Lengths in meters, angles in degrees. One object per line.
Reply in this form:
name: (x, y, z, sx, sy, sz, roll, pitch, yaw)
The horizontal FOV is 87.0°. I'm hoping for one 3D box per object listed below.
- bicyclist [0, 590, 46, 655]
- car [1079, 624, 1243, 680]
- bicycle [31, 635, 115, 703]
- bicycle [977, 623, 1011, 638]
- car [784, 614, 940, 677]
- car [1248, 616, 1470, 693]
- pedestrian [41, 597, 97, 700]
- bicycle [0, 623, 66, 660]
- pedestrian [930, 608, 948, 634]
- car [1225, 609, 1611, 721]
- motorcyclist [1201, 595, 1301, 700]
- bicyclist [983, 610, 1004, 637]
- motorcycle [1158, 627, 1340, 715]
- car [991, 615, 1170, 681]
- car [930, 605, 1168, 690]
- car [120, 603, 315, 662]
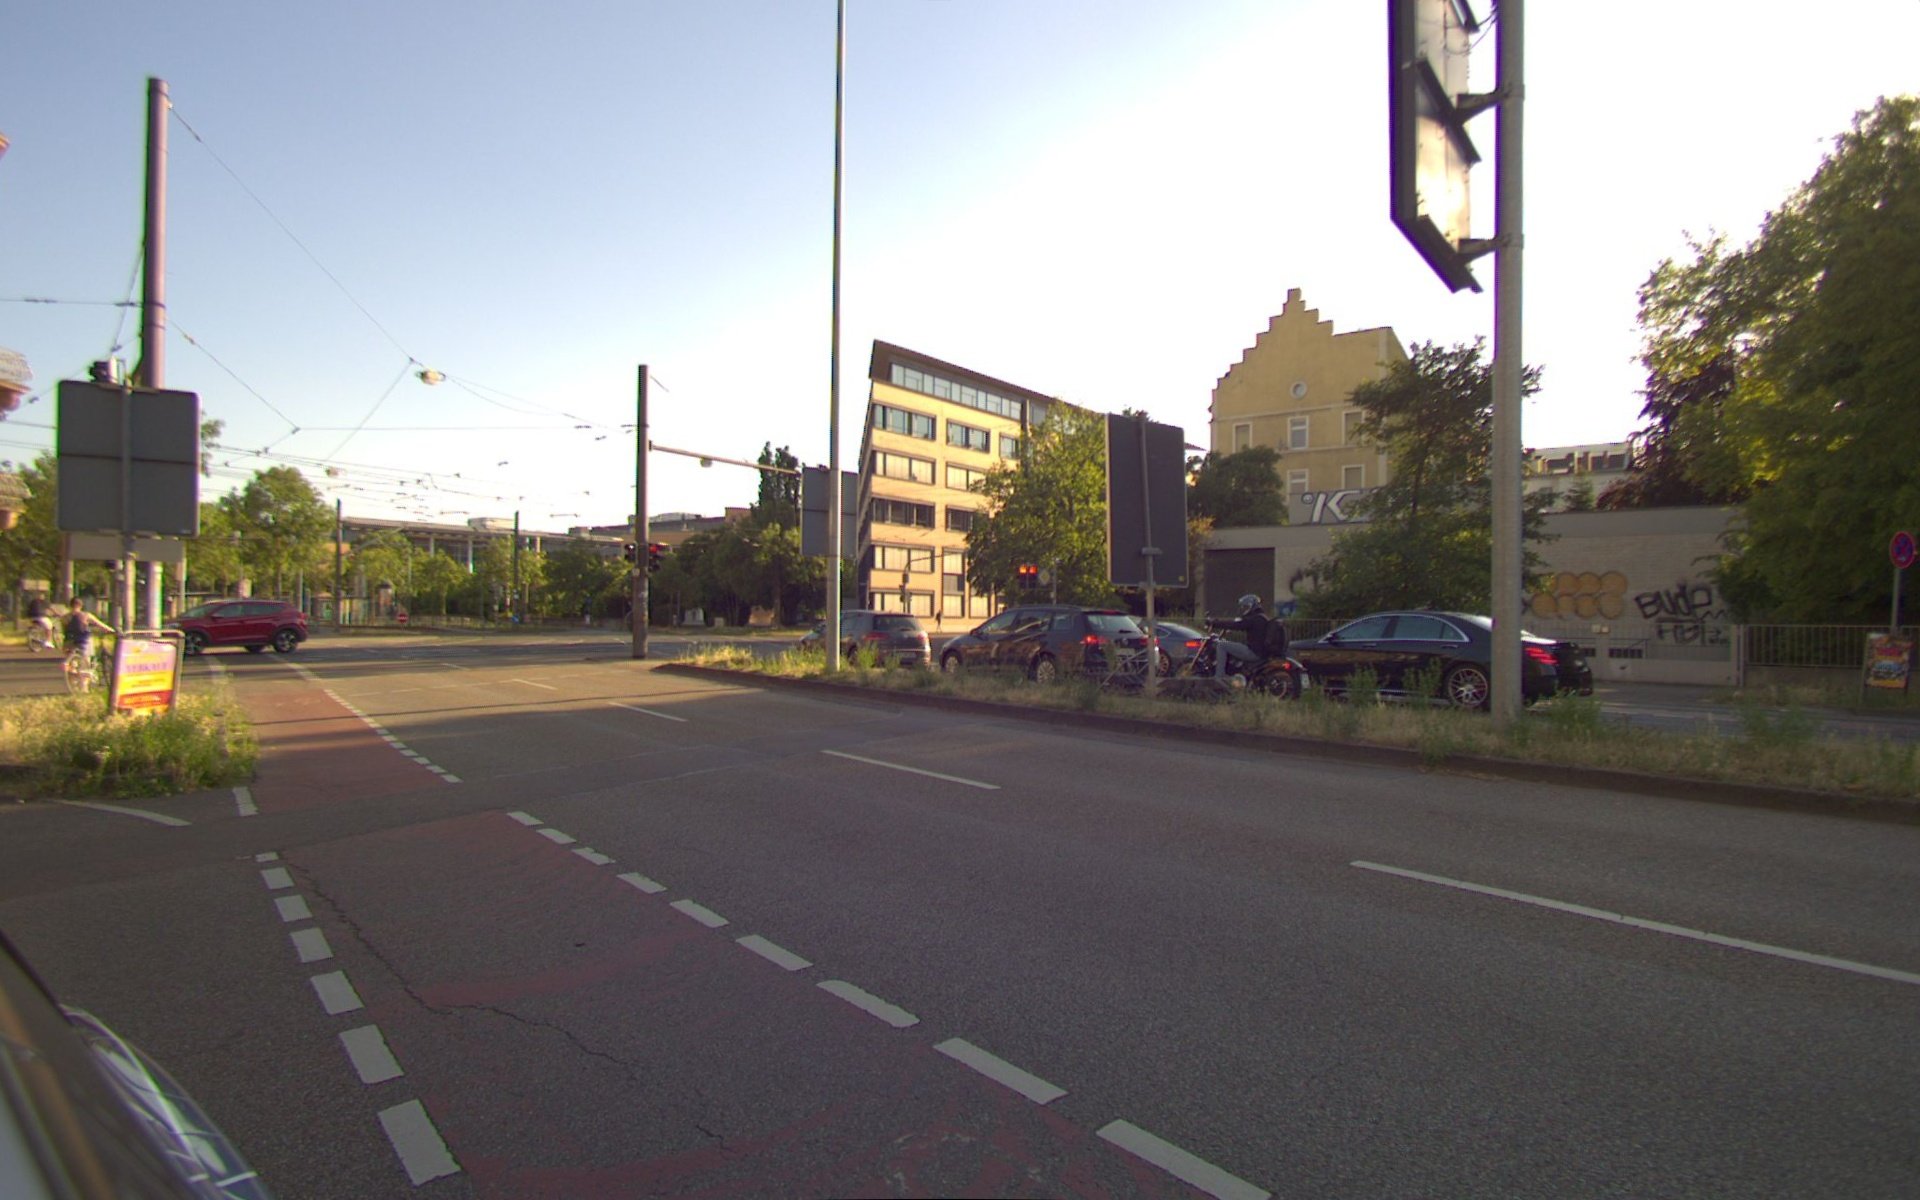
bicyclist: (-27.820, 0.653, 29.575, 1.055, 1.856, 1.306, 1, -2, -10)
car: (5.028, 1.274, 25.710, 1.697, 1.306, 3.902, 2, -2, -39)
bicycle: (-14.540, 1.111, 16.630, 0.393, 1.037, 1.677, 1, -2, -18)
bicycle: (2.616, 2.337, 77.674, 1.012, 1.144, 2.788, 0, -1, 42)
car: (-2.341, 0.999, 23.188, 1.696, 1.306, 4.259, 2, -2, -35)
car: (8.364, 1.073, 21.460, 1.832, 1.475, 4.004, 1, -1, -43)
pedestrian: (-14.603, 0.790, 16.605, 0.481, 1.644, 0.527, 1, -2, -18)
bicycle: (-27.820, 1.201, 29.620, 1.055, 1.032, 2.981, 1, -1, -10)
pedestrian: (-1.649, 1.634, 79.598, 0.929, 2.029, 0.976, -1, -2, 39)
car: (7.083, 0.927, 16.201, 1.969, 1.507, 5.298, 2, -2, -43)
motorcyclist: (4.077, 0.654, 14.208, 0.840, 1.409, 1.064, 2, -2, -37)
bicyclist: (2.583, 1.790, 77.628, 0.994, 2.029, 1.233, -1, -2, 42)
motorcycle: (4.018, 0.950, 14.297, 0.847, 1.116, 2.475, 2, -2, -37)
car: (2.592, 1.012, 22.482, 1.697, 1.329, 3.902, 2, -2, -39)
car: (1.418, 0.779, 17.813, 1.696, 1.306, 4.387, 2, -2, -36)
car: (-22.355, 0.972, 30.665, 1.812, 1.627, 4.425, 0, -2, 26)
